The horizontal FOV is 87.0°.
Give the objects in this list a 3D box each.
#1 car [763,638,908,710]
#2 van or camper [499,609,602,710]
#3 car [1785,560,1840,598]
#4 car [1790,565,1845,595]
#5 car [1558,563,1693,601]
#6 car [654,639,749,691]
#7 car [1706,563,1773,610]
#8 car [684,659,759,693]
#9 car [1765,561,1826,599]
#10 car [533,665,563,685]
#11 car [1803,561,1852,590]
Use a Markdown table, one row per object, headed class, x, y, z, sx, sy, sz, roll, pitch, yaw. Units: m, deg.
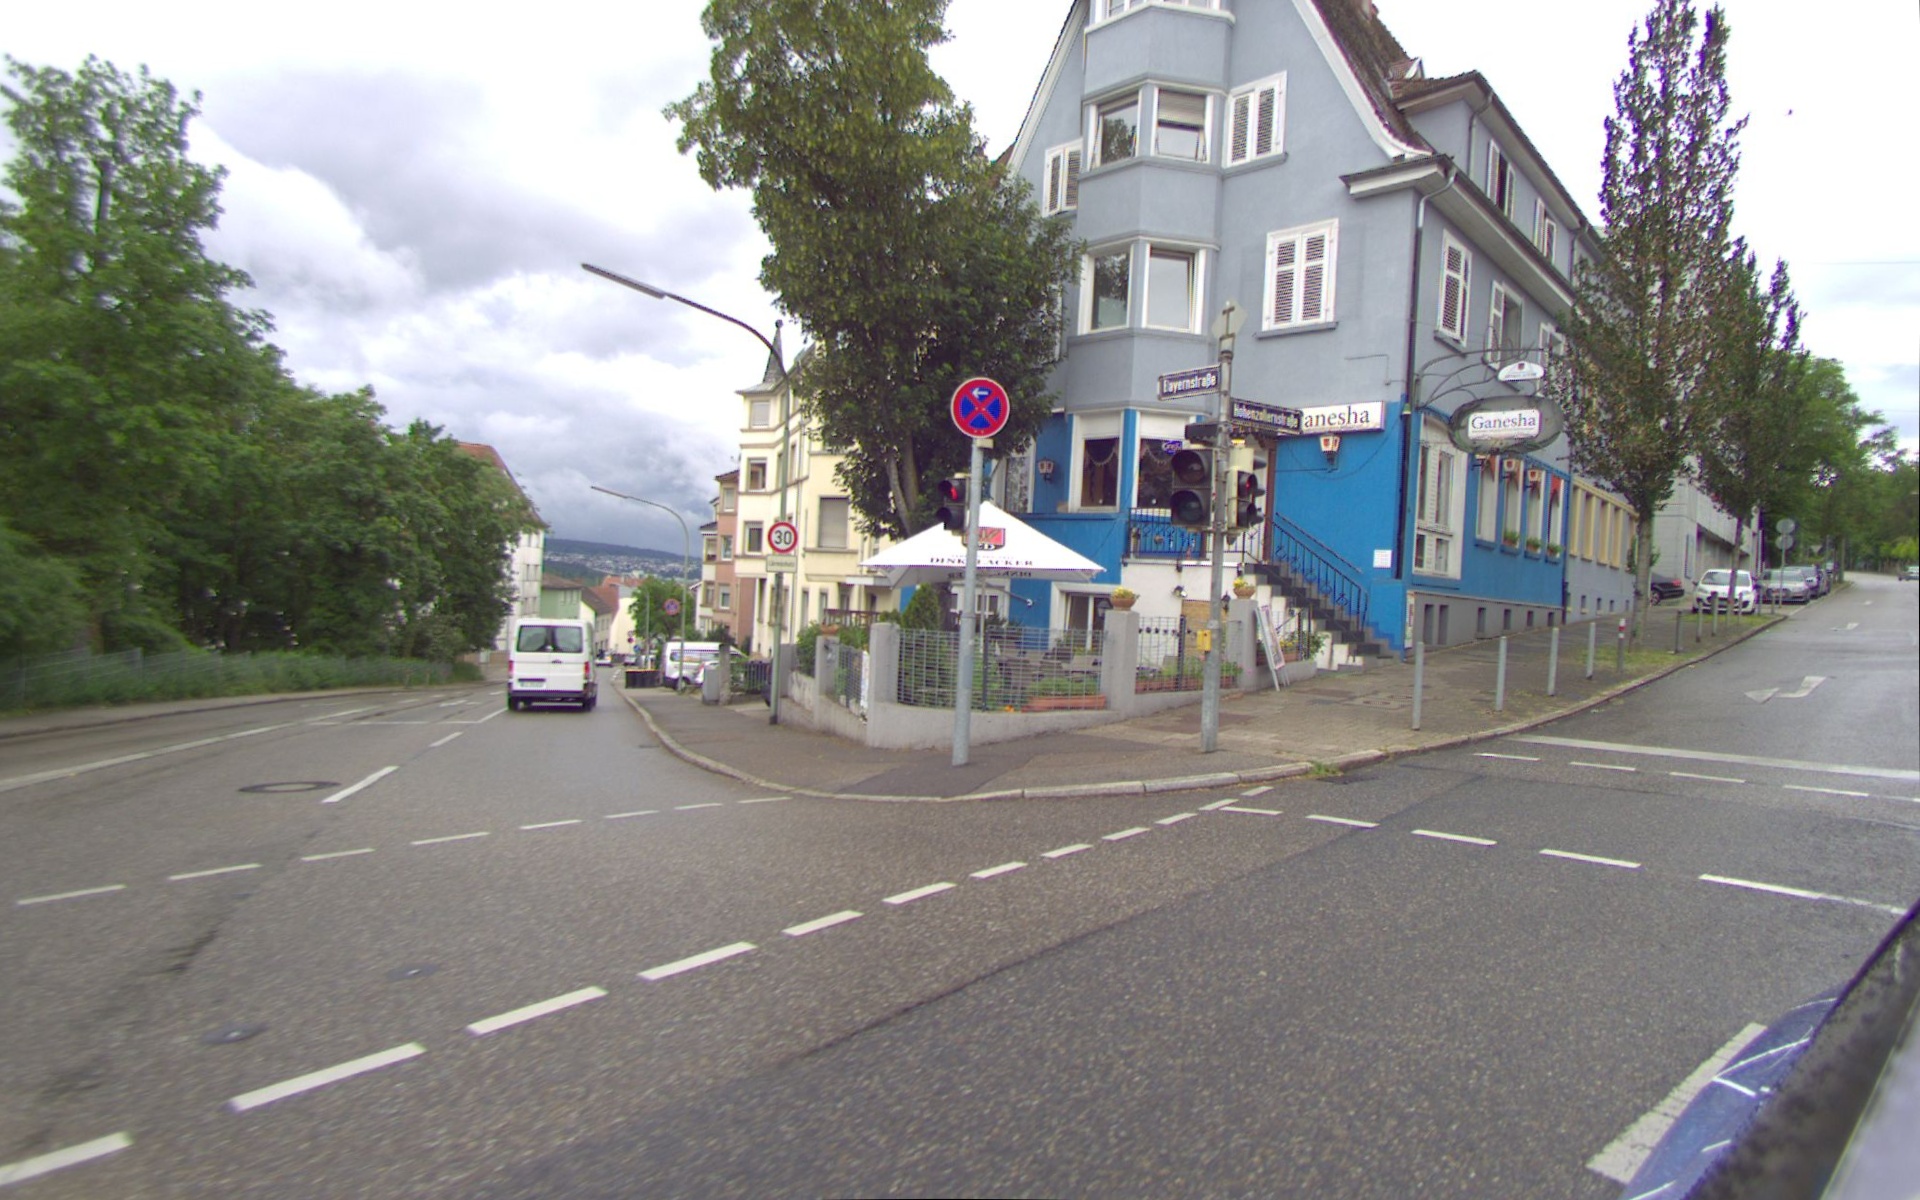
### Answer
| class | x | y | z | sx | sy | sz | roll | pitch | yaw |
| --- | --- | --- | --- | --- | --- | --- | --- | --- | --- |
| car | -3.017 | 1.758 | 24.654 | 3.084 | 1.517 | 1.638 | -1 | -2 | -37 |
| van or camper | -10.605 | 1.577 | 26.589 | 2.066 | 2.357 | 5.425 | 2 | -4 | -18 |
| car | 41.354 | -1.062 | 49.069 | 1.745 | 1.695 | 4.278 | 3 | 4 | 43 |
| car | 44.701 | -1.075 | 52.721 | 4.029 | 1.461 | 1.709 | -2 | 4 | -43 |
| car | 26.226 | -0.732 | 40.083 | 4.329 | 1.424 | 1.791 | 0 | 2 | 29 |
| car | -12.035 | 3.068 | 47.153 | 4.087 | 2.264 | 1.943 | 2 | -8 | -18 |
| car | 25.794 | -0.471 | 33.459 | 1.585 | 1.429 | 3.407 | 3 | 4 | 40 |
| car | -10.539 | 3.362 | 44.805 | 2.990 | 1.423 | 1.307 | 4 | -4 | -24 |
| car | 35.792 | -0.889 | 43.322 | 1.814 | 1.477 | 4.671 | 3 | 4 | 42 |
| car | -33.473 | 6.085 | 82.290 | 1.759 | 1.325 | 3.974 | 3 | -2 | -16 |
| car | 48.869 | -1.400 | 56.994 | 1.839 | 1.461 | 4.092 | 7 | 6 | 43 |
